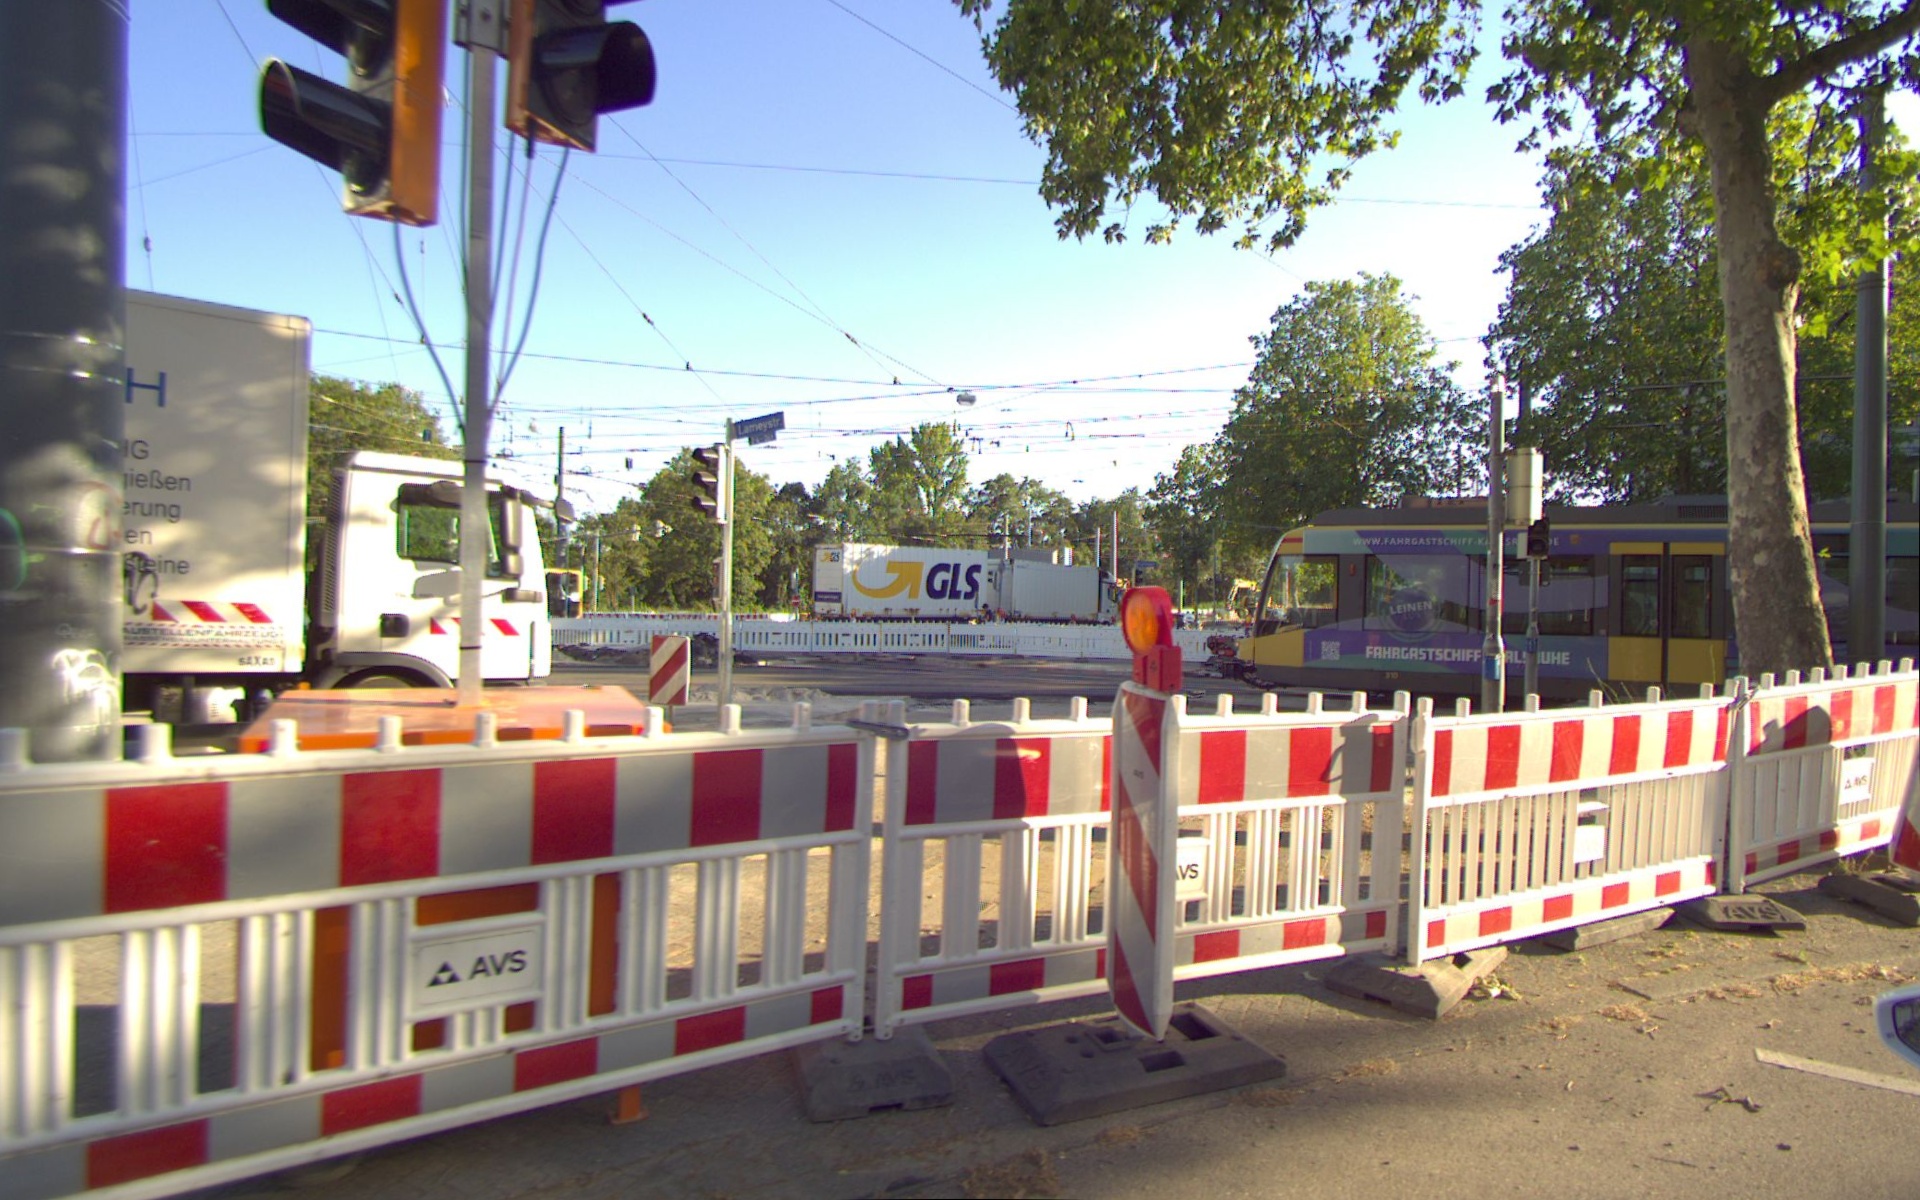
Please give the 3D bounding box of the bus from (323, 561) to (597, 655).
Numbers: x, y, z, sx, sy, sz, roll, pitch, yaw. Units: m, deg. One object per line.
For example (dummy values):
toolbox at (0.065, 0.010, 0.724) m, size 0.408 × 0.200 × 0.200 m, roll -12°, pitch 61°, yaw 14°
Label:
bus at (-22.670, 0.433, 46.869) m, size 3.029 × 3.772 × 12.294 m, roll 1°, pitch -1°, yaw 24°

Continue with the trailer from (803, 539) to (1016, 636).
trailer at (-2.042, -0.441, 43.560) m, size 9.158 × 3.848 × 2.866 m, roll 1°, pitch 0°, yaw -36°

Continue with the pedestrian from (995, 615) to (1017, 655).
pedestrian at (1.842, 1.415, 40.423) m, size 0.567 × 1.535 × 0.589 m, roll 5°, pitch 2°, yaw 44°

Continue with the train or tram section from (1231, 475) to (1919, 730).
train or tram section at (11.333, 0.021, 16.399) m, size 13.131 × 3.580 × 2.859 m, roll 1°, pitch -1°, yaw 20°

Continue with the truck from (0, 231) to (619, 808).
truck at (-7.299, -0.512, 7.027) m, size 8.894 × 3.588 × 2.793 m, roll 1°, pitch 0°, yaw -36°

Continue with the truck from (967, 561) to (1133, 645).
truck at (4.765, 0.247, 50.457) m, size 2.857 × 3.840 × 10.384 m, roll 0°, pitch -1°, yaw 40°
